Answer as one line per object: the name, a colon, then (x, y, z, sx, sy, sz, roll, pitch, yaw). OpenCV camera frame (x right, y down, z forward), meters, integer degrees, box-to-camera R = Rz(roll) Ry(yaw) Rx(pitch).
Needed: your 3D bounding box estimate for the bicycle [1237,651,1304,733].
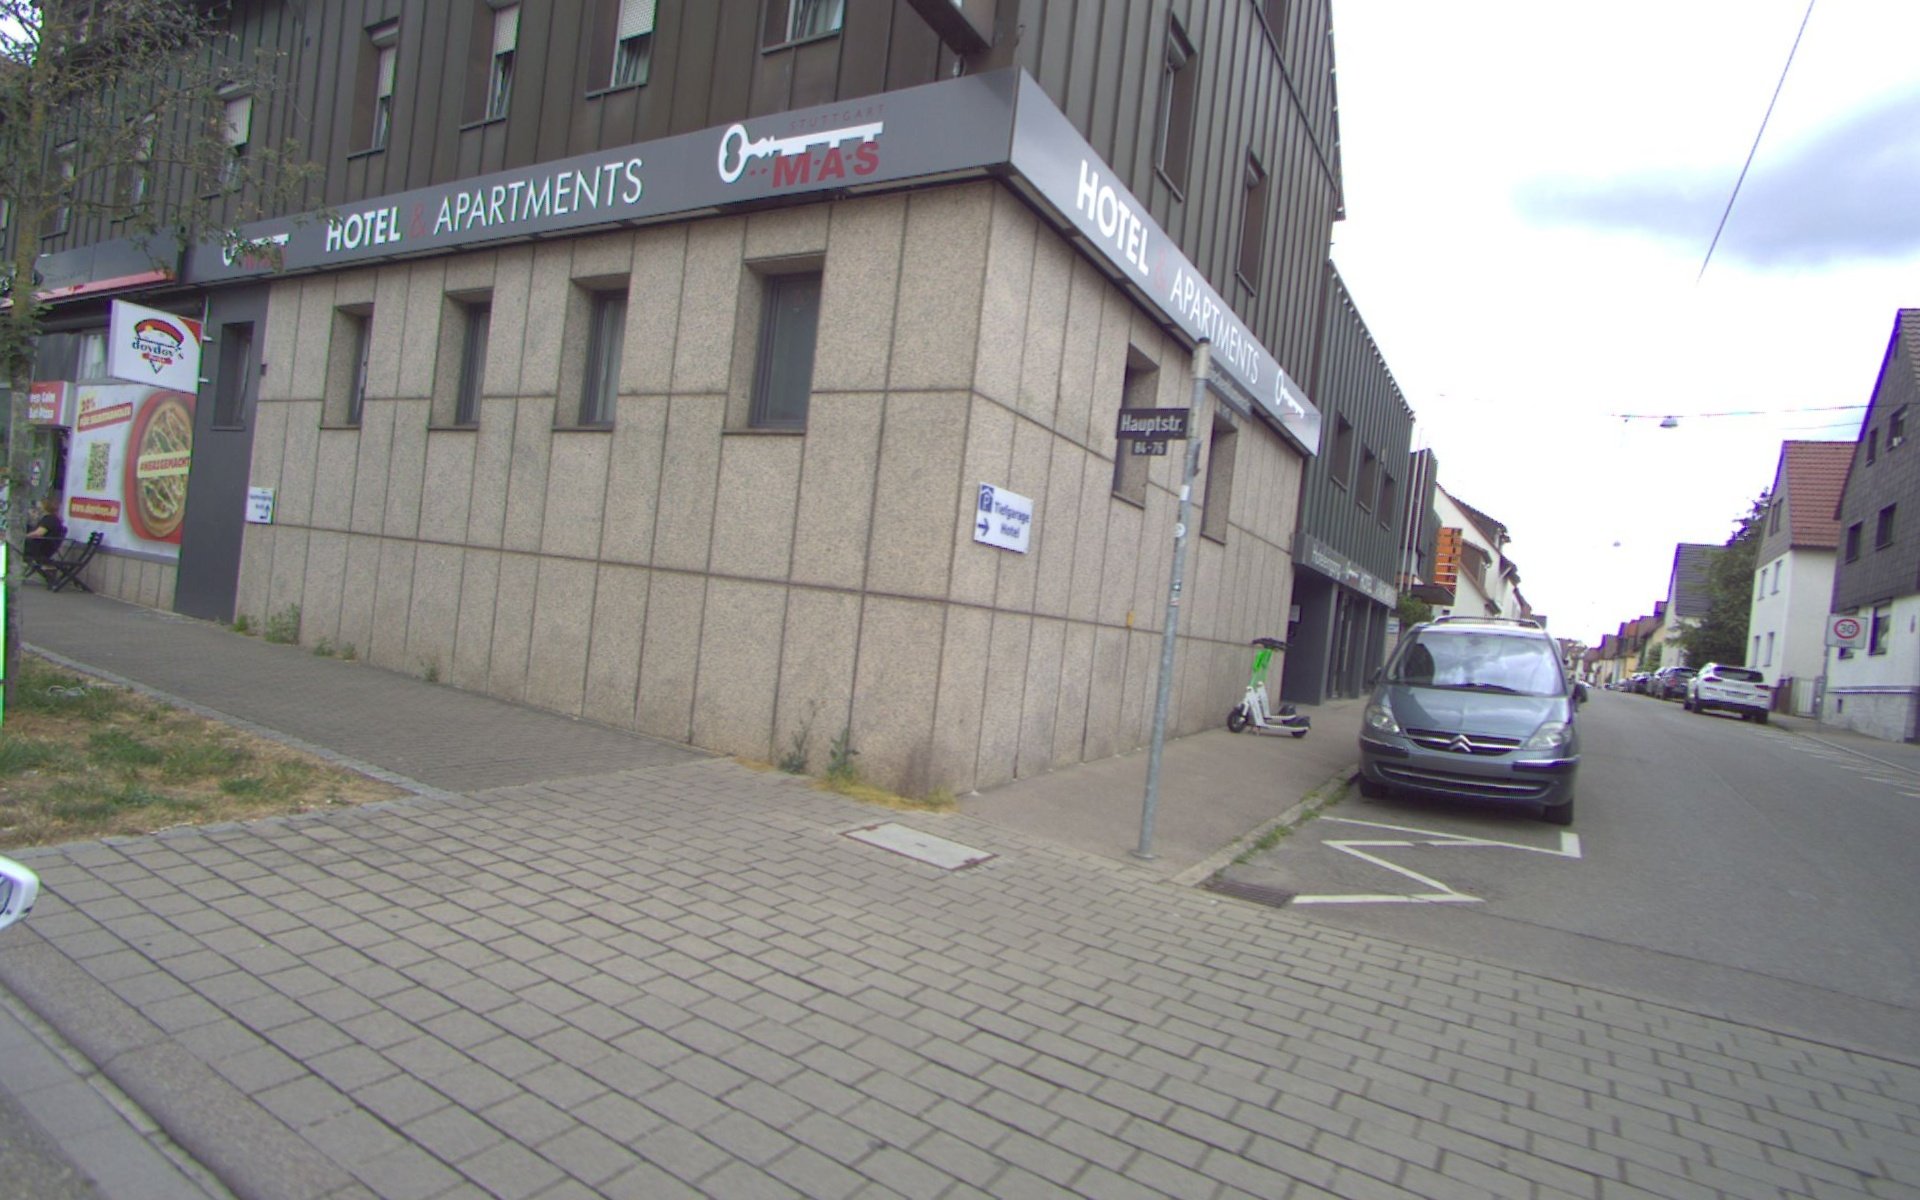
bicycle: (4.116, 1.201, 13.313, 0.620, 0.986, 0.606, 7, 2, 32)

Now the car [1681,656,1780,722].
car: (24.452, 2.858, 32.064, 1.935, 1.724, 4.034, 7, -2, 32)

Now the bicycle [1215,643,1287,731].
bicycle: (3.597, 1.061, 12.423, 0.620, 0.986, 0.606, 7, 2, 32)

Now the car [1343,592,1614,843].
car: (5.364, 1.029, 10.382, 1.898, 1.890, 4.486, 4, 0, 29)

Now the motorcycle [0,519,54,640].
motorcycle: (-9.927, -0.267, 9.158, 0.687, 1.197, 2.739, 7, -2, 2)

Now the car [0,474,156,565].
car: (-20.886, -1.904, 22.591, 1.660, 1.584, 3.988, 7, -2, 32)

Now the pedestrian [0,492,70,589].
pedestrian: (-13.516, -0.868, 14.423, 0.950, 1.318, 0.887, 7, 4, 32)

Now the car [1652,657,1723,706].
car: (30.843, 3.501, 42.746, 1.967, 1.724, 4.054, 7, -2, 32)
